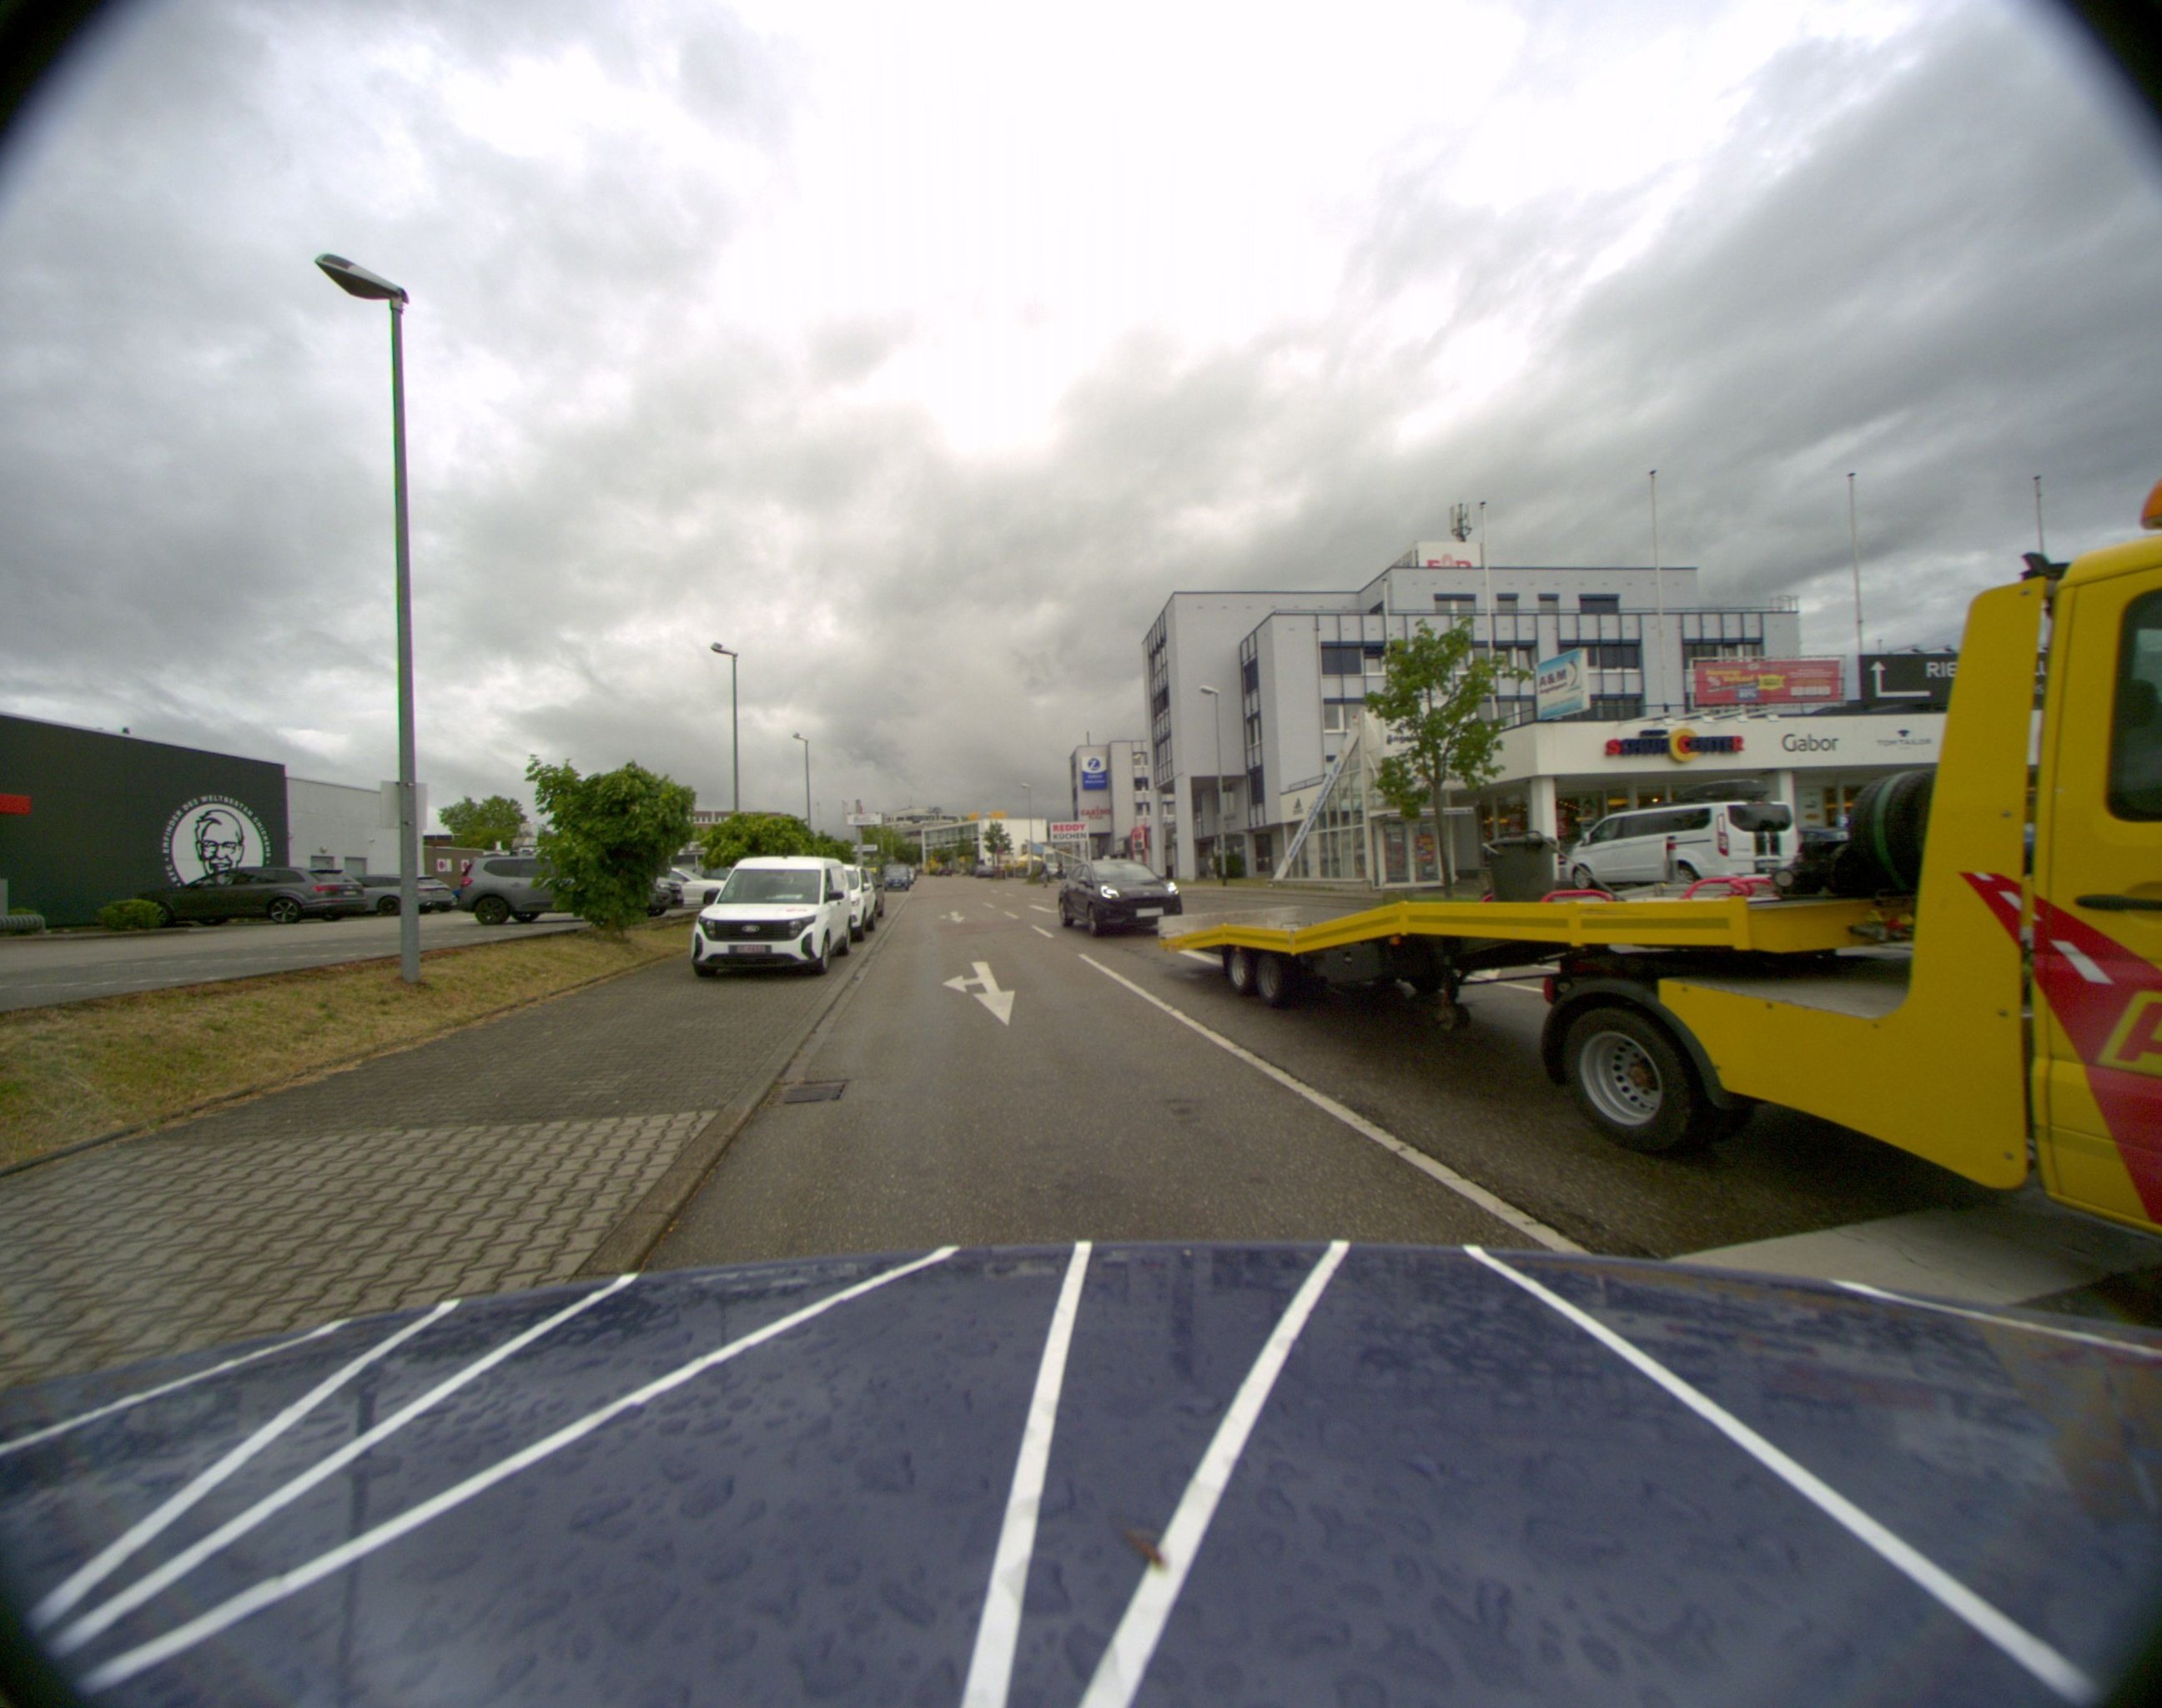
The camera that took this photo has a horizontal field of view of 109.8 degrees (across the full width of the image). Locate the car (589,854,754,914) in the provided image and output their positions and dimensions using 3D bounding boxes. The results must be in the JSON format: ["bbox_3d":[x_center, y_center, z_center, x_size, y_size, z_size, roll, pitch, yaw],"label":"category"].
[{"bbox_3d":[-13.691,0.964,25.683,4.504,1.730,1.890,-2,1,-14],"label":"car"}]

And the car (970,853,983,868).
[{"bbox_3d":[-14.075,0.867,102.028,1.568,1.807,3.903,-3,0,-9],"label":"car"}]

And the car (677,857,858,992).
[{"bbox_3d":[-4.797,0.943,12.284,1.799,1.773,4.245,0,0,-10],"label":"car"}]

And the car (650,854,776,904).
[{"bbox_3d":[-14.731,0.982,30.633,4.186,1.764,1.879,-2,1,-13],"label":"car"}]

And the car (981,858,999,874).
[{"bbox_3d":[-10.526,1.341,87.846,1.802,1.662,3.665,-3,0,-9],"label":"car"}]

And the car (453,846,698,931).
[{"bbox_3d":[-11.983,0.771,18.372,4.504,1.730,1.890,-2,1,-14],"label":"car"}]

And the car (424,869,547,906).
[{"bbox_3d":[-27.219,1.495,34.863,4.039,1.477,1.738,-2,0,-17],"label":"car"}]

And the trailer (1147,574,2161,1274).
[{"bbox_3d":[2.849,0.261,6.801,2.311,2.459,7.964,-2,0,-11],"label":"trailer"}]

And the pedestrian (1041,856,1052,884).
[{"bbox_3d":[-2.134,0.976,46.498,0.551,1.698,0.519,-3,1,-8],"label":"pedestrian"}]

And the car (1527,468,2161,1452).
[{"bbox_3d":[3.889,0.239,1.625,2.247,2.459,5.010,-2,0,-11],"label":"car"}]

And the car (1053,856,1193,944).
[{"bbox_3d":[0.735,0.874,16.195,1.815,1.531,3.995,-4,0,-14],"label":"car"}]

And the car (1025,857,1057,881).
[{"bbox_3d":[-2.968,1.063,55.190,1.824,1.601,3.997,-2,0,-9],"label":"car"}]

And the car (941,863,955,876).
[{"bbox_3d":[-19.339,2.218,110.360,1.903,1.755,3.997,-3,0,-9],"label":"car"}]

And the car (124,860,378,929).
[{"bbox_3d":[-24.335,1.130,22.504,4.745,1.730,1.890,-2,1,-14],"label":"car"}]

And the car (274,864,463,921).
[{"bbox_3d":[-25.300,1.334,27.163,4.504,1.730,1.890,-2,1,-14],"label":"car"}]

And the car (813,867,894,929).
[{"bbox_3d":[-6.890,1.269,23.382,1.824,1.589,3.997,-2,0,-9],"label":"car"}]

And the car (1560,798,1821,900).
[{"bbox_3d":[13.878,-0.104,17.793,1.999,2.002,4.785,-2,0,-5],"label":"car"}]

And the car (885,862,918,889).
[{"bbox_3d":[-12.212,1.446,51.897,1.824,1.698,3.997,-2,0,-9],"label":"car"}]

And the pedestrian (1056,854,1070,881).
[{"bbox_3d":[-1.187,0.881,50.119,0.644,1.733,0.589,-2,1,23],"label":"pedestrian"}]

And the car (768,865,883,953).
[{"bbox_3d":[-5.767,1.152,17.625,1.824,1.698,3.997,-2,0,-9],"label":"car"}]
